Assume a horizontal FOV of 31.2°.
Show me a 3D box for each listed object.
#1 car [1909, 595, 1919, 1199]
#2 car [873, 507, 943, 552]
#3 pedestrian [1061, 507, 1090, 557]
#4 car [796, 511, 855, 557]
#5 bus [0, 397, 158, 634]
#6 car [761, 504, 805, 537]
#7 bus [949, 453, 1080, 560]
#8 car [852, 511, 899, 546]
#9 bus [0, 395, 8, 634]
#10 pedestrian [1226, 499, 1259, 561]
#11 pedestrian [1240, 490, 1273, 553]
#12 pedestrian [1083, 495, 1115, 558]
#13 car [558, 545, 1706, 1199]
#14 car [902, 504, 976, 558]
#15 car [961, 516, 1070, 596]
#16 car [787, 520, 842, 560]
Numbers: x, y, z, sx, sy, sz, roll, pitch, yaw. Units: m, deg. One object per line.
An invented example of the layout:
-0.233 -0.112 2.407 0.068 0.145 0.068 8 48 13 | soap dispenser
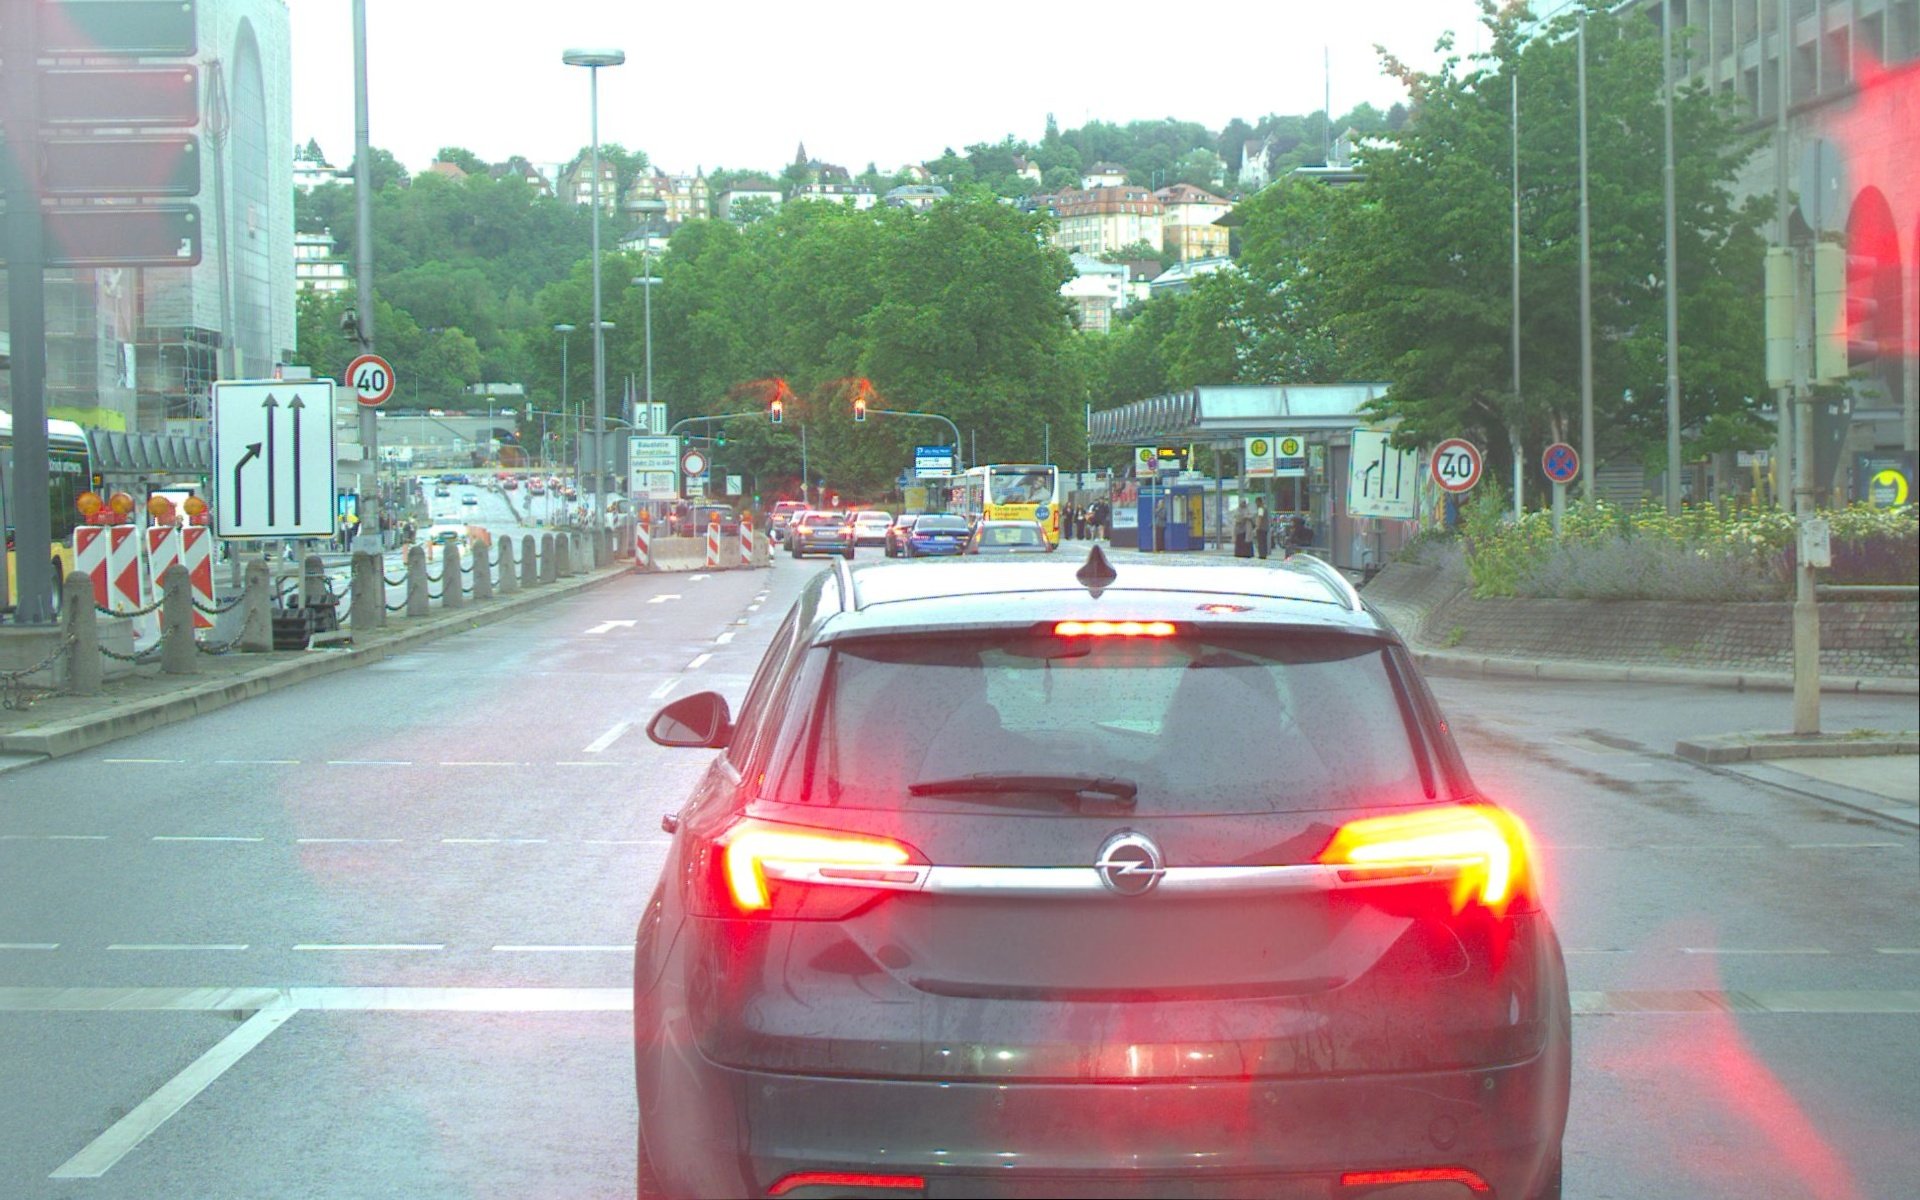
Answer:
2.762 0.696 4.349 1.793 1.496 4.629 1 1 0 | car
-1.691 -2.255 110.998 1.753 1.393 4.403 1 1 -7 | car
5.012 -2.936 149.259 1.199 2.141 1.228 1 1 1 | pedestrian
-4.168 -2.037 106.879 1.753 1.393 4.538 1 1 -2 | car
-15.845 -1.372 57.224 2.668 3.589 10.212 1 1 -1 | bus
-7.708 -3.463 149.961 1.759 1.393 3.564 1 1 -1 | car
1.774 -3.189 120.886 4.173 3.457 14.655 1 1 -1 | bus
-3.443 -2.915 140.297 1.845 1.393 3.564 1 1 -1 | car
-15.717 -1.236 46.936 2.668 3.589 10.240 1 1 -1 | bus
7.850 -1.937 95.432 0.763 1.684 0.825 1 1 -5 | pedestrian
8.128 -2.149 94.219 0.763 1.684 0.825 1 1 -5 | pedestrian
5.467 -2.892 135.439 1.199 2.427 1.228 1 1 1 | pedestrian
0.244 0.638 7.658 1.874 1.481 4.000 1 1 -1 | car
-0.593 -1.868 93.446 1.753 1.393 4.649 1 1 -3 | car
0.979 -0.801 62.437 1.845 1.393 3.667 1 1 -1 | car
-5.213 -2.139 123.698 1.845 1.393 3.564 1 1 -1 | car
